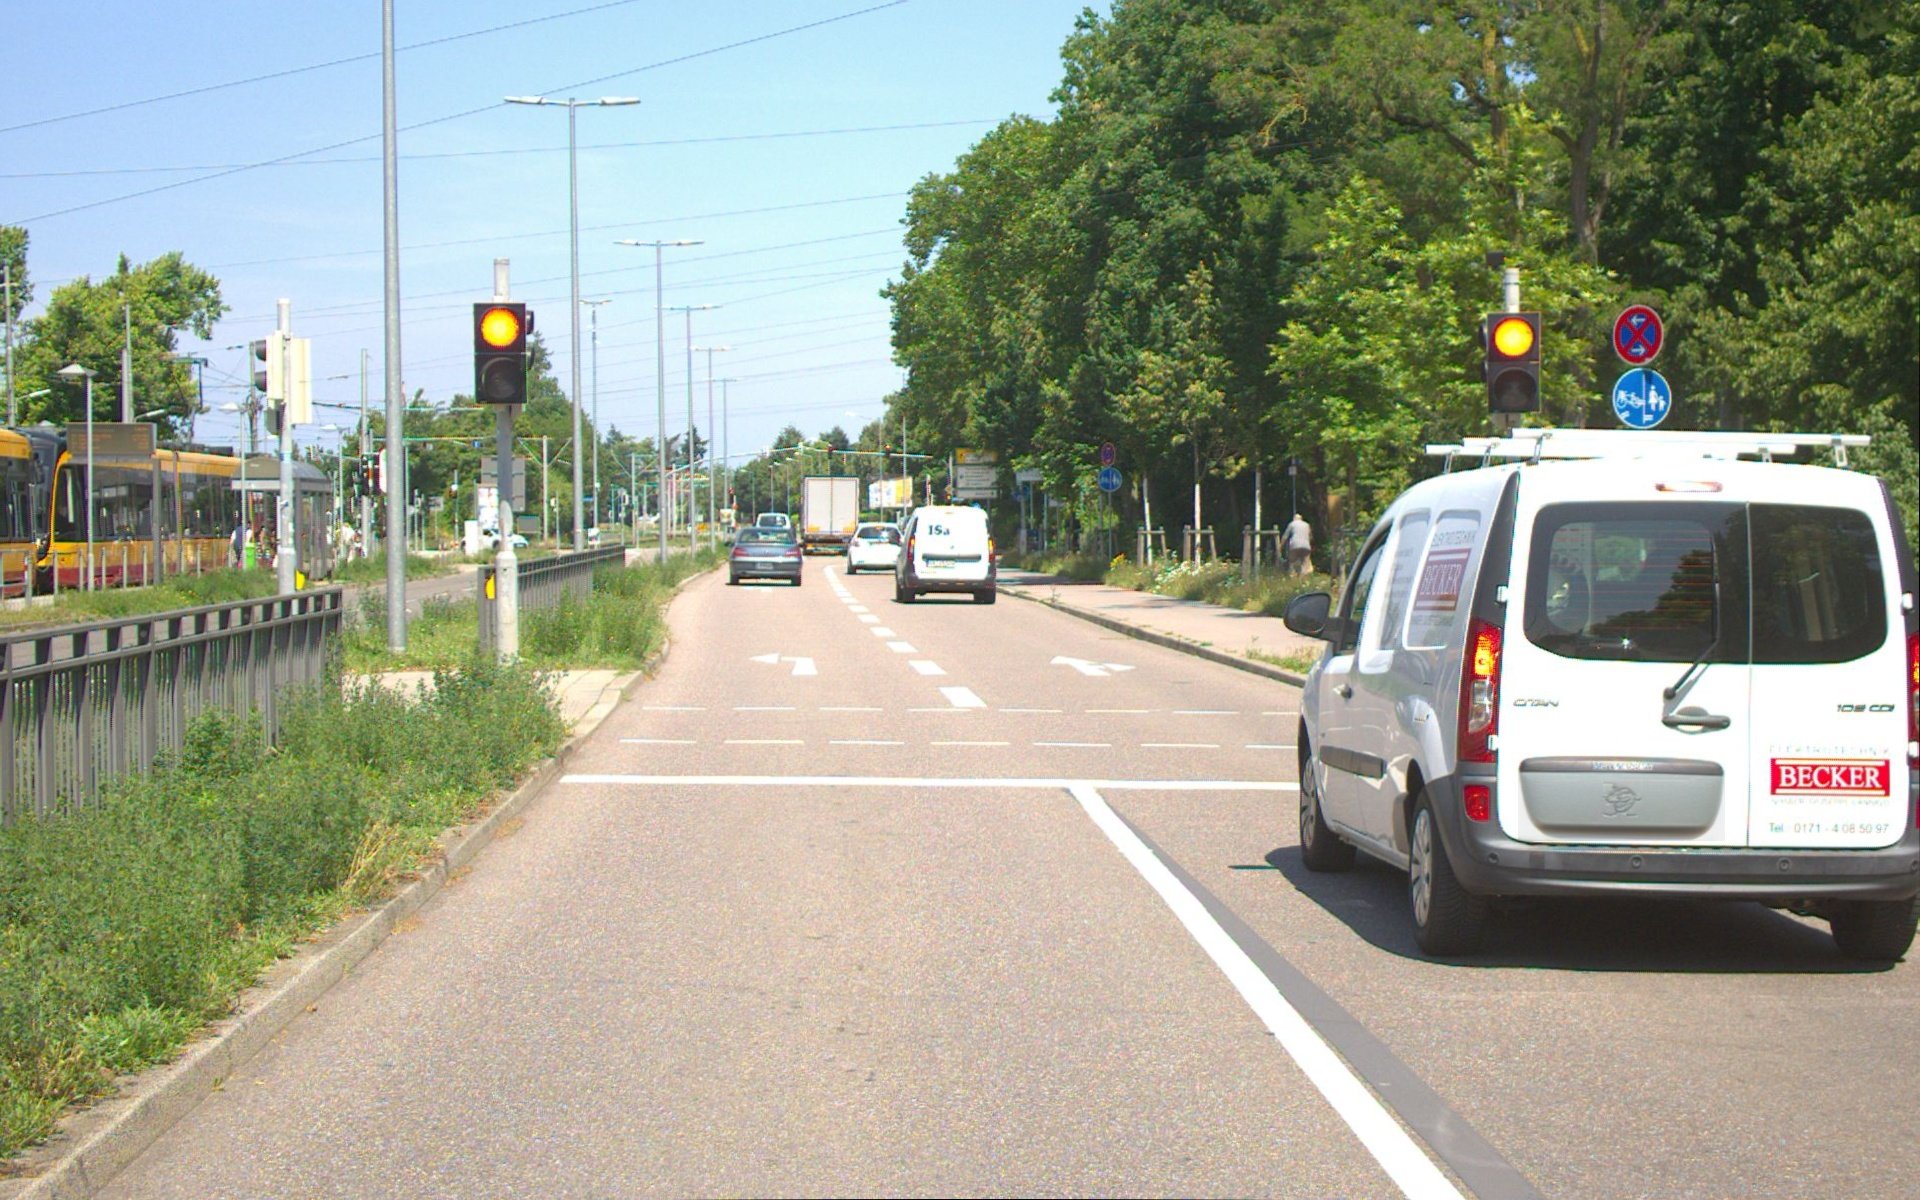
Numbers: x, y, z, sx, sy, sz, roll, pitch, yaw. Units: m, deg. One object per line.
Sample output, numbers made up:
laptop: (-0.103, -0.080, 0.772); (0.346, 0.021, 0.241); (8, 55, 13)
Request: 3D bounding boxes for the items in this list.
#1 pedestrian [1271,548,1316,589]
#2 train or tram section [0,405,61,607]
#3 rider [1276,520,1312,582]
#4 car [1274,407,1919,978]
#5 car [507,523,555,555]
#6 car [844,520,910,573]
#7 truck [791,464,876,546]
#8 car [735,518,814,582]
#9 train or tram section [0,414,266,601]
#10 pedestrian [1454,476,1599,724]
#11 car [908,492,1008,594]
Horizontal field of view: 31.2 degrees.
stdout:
pedestrian: (6.919, -0.659, 71.426); (0.678, 0.845, 1.774); (0, 1, -3)
train or tram section: (-18.086, -1.394, 48.552); (2.787, 3.655, 37.524); (0, 1, -3)
rider: (6.933, -1.025, 71.359); (0.678, 1.277, 0.534); (0, 1, -3)
car: (2.451, 0.259, 13.645); (1.824, 1.875, 4.456); (1, 1, -2)
car: (-22.425, -3.181, 179.802); (1.993, 1.644, 4.001); (0, 1, -14)
car: (-2.457, -1.593, 101.069); (1.803, 1.534, 4.001); (0, 1, -3)
truck: (-6.140, -4.539, 165.236); (3.898, 3.799, 10.794); (0, 1, -3)
car: (-4.396, -1.216, 81.749); (1.801, 1.481, 4.001); (0, 1, -2)
train or tram section: (-19.607, -2.102, 80.287); (2.787, 3.655, 26.003); (0, 1, -3)
pedestrian: (4.319, -0.009, 26.175); (1.047, 1.844, 0.757); (1, 1, 11)
car: (-0.016, -1.101, 64.431); (1.728, 1.807, 4.000); (1, 2, 2)
